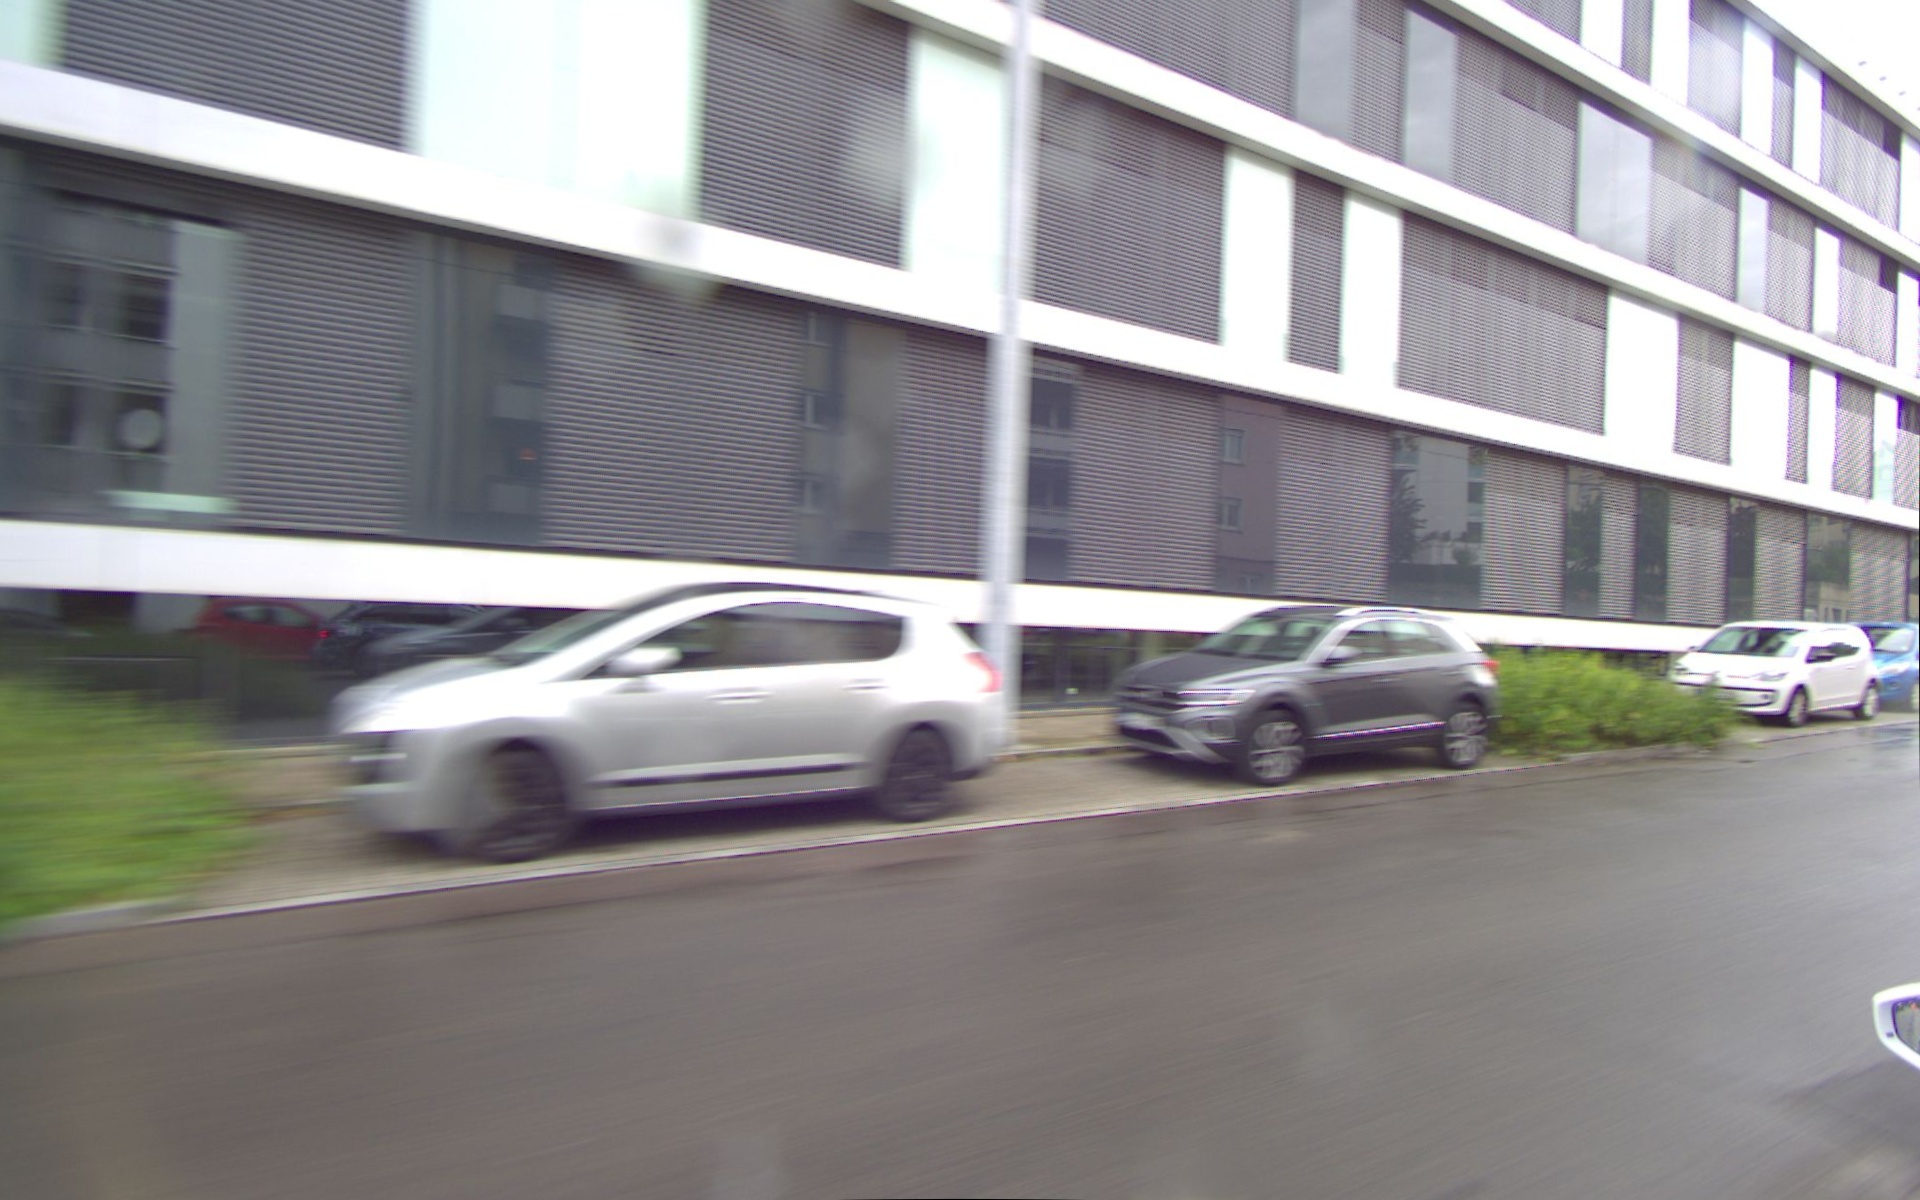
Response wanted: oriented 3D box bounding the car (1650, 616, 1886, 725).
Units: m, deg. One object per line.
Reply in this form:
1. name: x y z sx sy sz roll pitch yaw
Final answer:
1. car: 12.512 1.027 15.531 3.540 1.486 1.630 1 0 -29

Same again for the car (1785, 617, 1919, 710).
1. car: 16.624 1.090 18.124 3.544 1.486 1.628 1 0 -32

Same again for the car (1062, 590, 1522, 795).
1. car: 3.354 0.793 10.024 4.308 1.611 1.874 1 2 -28

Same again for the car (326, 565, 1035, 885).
1. car: -1.790 0.656 6.988 4.311 1.611 1.821 1 2 -30
